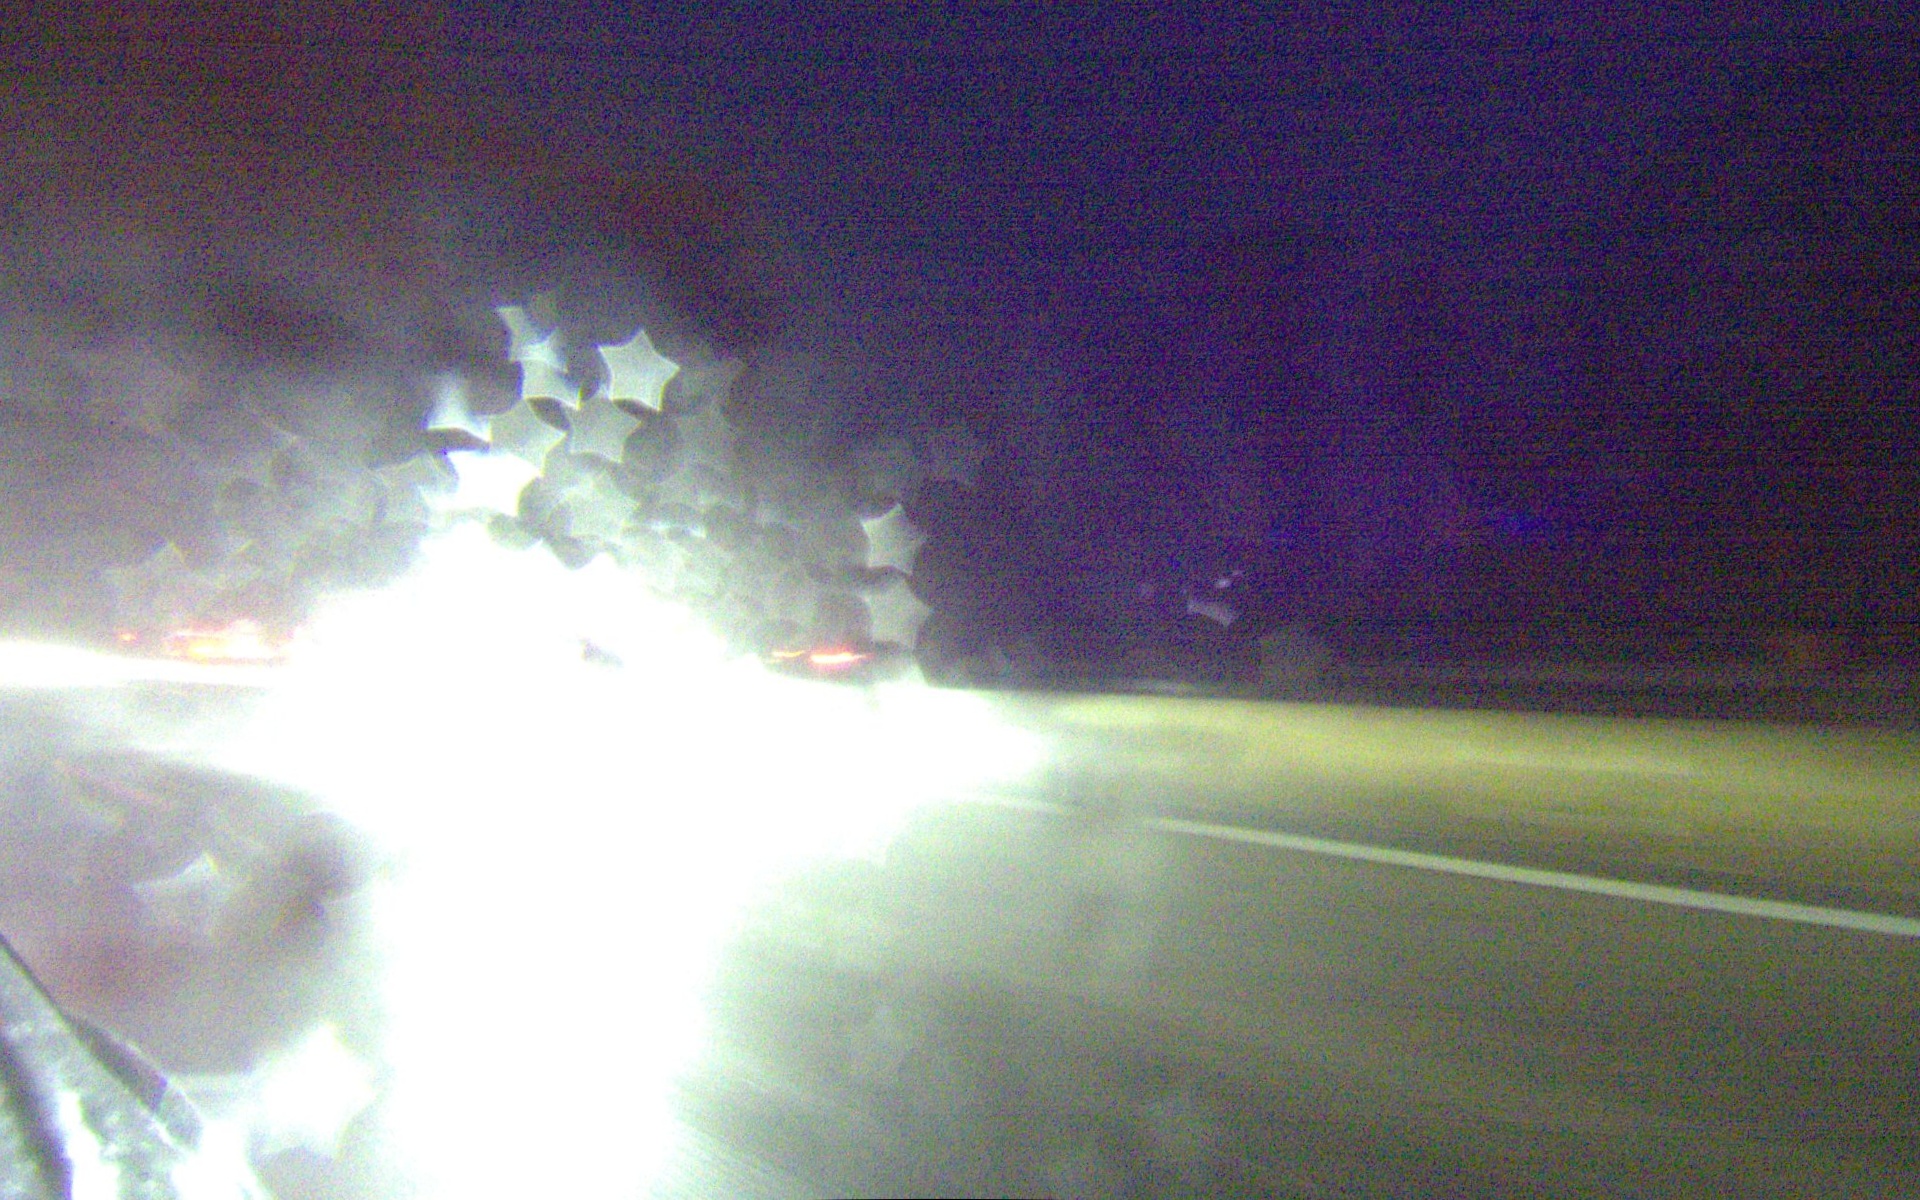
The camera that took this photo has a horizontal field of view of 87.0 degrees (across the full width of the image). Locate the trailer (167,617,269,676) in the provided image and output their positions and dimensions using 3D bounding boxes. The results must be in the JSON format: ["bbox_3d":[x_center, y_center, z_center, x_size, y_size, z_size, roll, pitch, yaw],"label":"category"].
[{"bbox_3d":[-51.729,3.224,70.381,12.009,3.777,2.669,-2,-4,40],"label":"trailer"}]

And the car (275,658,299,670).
[{"bbox_3d":[-78.502,7.497,118.101,3.553,1.294,1.470,-3,-2,41],"label":"car"}]

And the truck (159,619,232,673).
[{"bbox_3d":[-55.711,3.352,73.669,6.447,3.788,2.669,-2,-4,39],"label":"truck"}]

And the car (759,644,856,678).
[{"bbox_3d":[-6.695,2.650,44.209,4.591,1.388,1.543,-2,-4,41],"label":"car"}]

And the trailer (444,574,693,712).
[{"bbox_3d":[-16.543,1.769,41.646,14.570,4.886,2.892,-2,-4,41],"label":"trailer"}]

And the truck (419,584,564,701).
[{"bbox_3d":[-21.268,1.933,45.739,7.572,4.886,2.892,-2,-4,41],"label":"truck"}]

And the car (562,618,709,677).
[{"bbox_3d":[-9.663,1.406,29.968,4.590,1.611,1.973,-2,-4,40],"label":"car"}]

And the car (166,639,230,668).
[{"bbox_3d":[-44.673,3.131,59.302,4.590,1.611,1.973,-2,-4,40],"label":"car"}]

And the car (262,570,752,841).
[{"bbox_3d":[-4.587,0.829,9.735,5.551,1.899,2.115,-2,-2,40],"label":"car"}]
